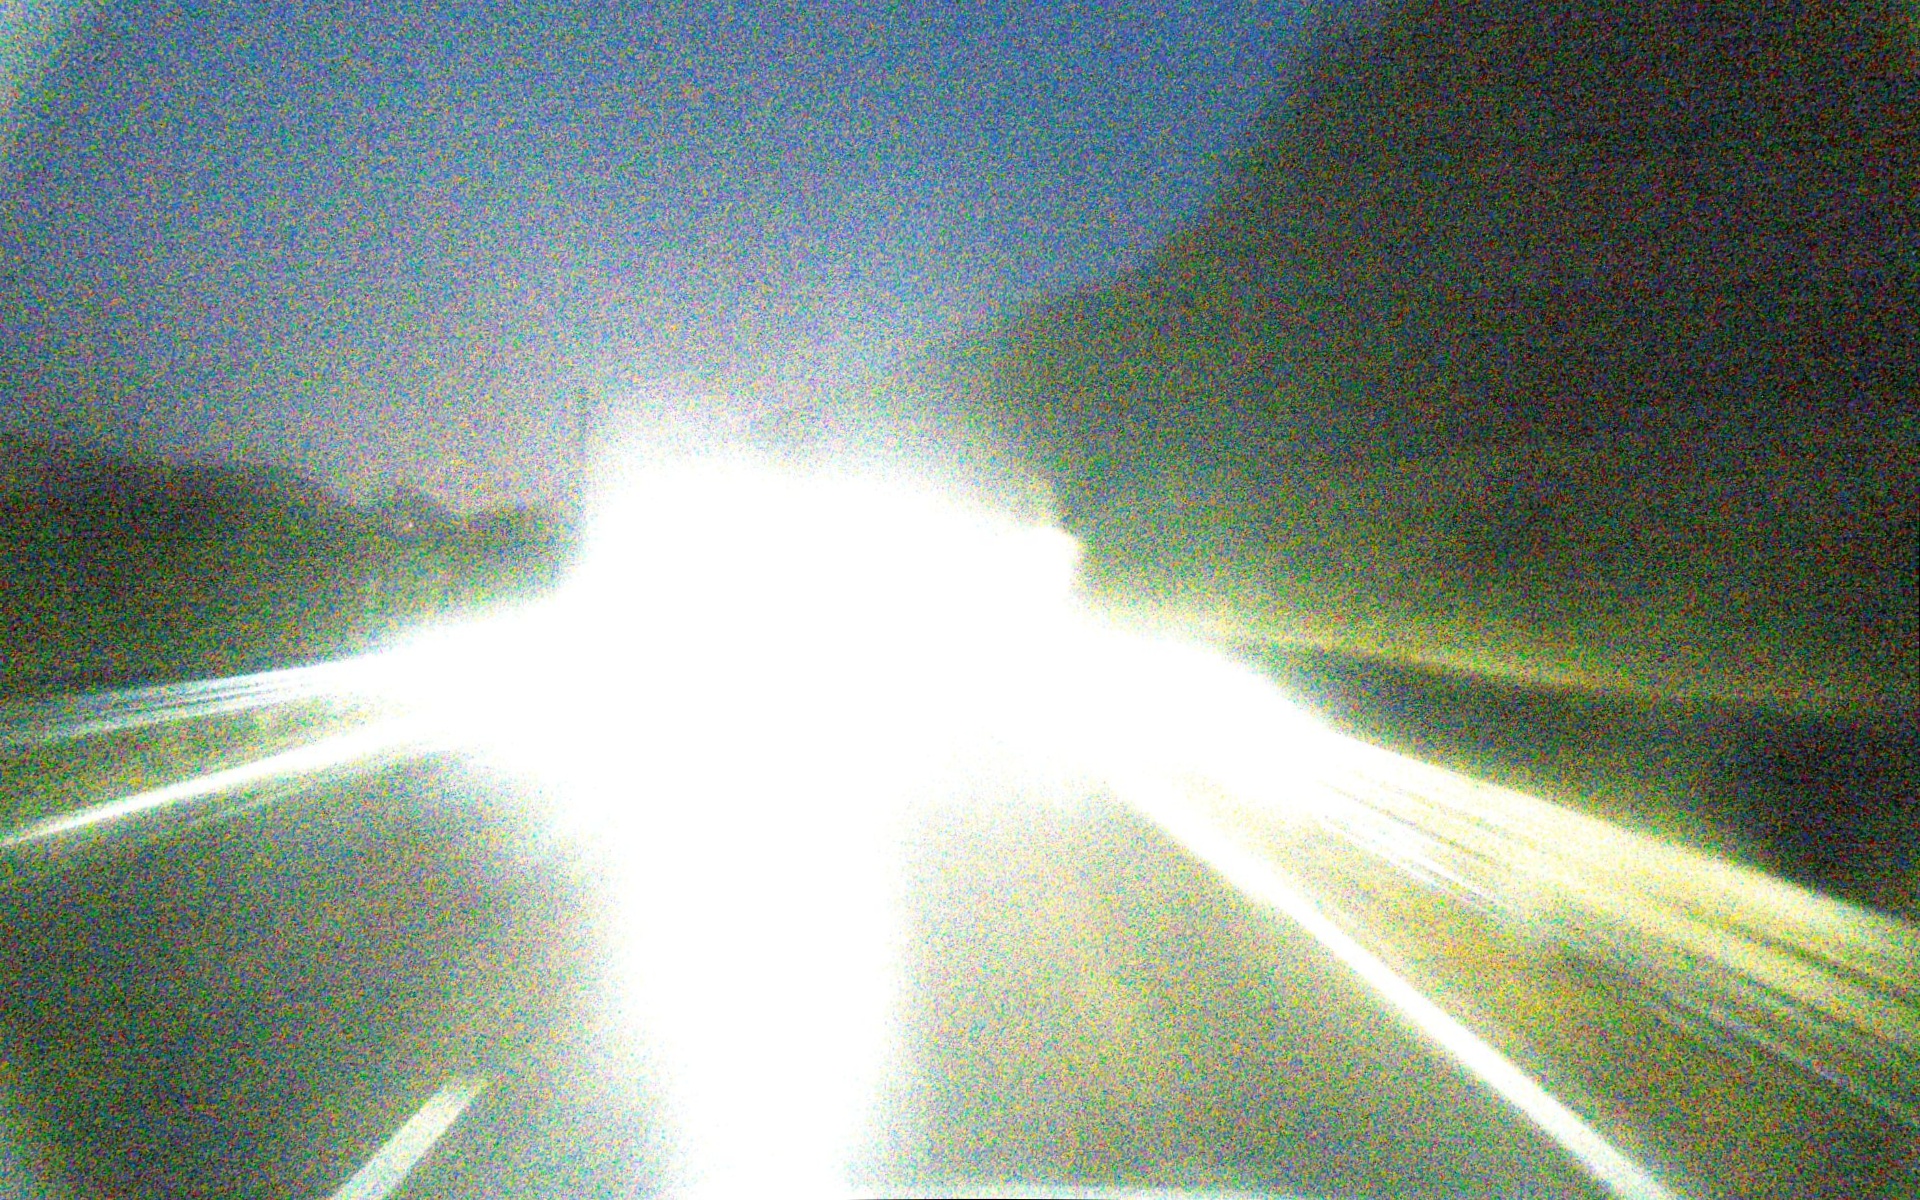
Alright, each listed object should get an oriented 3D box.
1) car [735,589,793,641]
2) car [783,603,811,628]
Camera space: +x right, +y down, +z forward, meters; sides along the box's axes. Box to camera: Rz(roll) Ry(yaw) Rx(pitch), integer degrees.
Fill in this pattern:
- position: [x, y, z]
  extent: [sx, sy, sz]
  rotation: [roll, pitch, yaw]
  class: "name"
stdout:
- position: [-5.998, 0.451, 50.906]
  extent: [1.669, 1.532, 3.680]
  rotation: [1, 0, -5]
  class: "car"
- position: [-10.514, 0.977, 106.626]
  extent: [1.797, 1.509, 4.064]
  rotation: [0, 0, -6]
  class: "car"
